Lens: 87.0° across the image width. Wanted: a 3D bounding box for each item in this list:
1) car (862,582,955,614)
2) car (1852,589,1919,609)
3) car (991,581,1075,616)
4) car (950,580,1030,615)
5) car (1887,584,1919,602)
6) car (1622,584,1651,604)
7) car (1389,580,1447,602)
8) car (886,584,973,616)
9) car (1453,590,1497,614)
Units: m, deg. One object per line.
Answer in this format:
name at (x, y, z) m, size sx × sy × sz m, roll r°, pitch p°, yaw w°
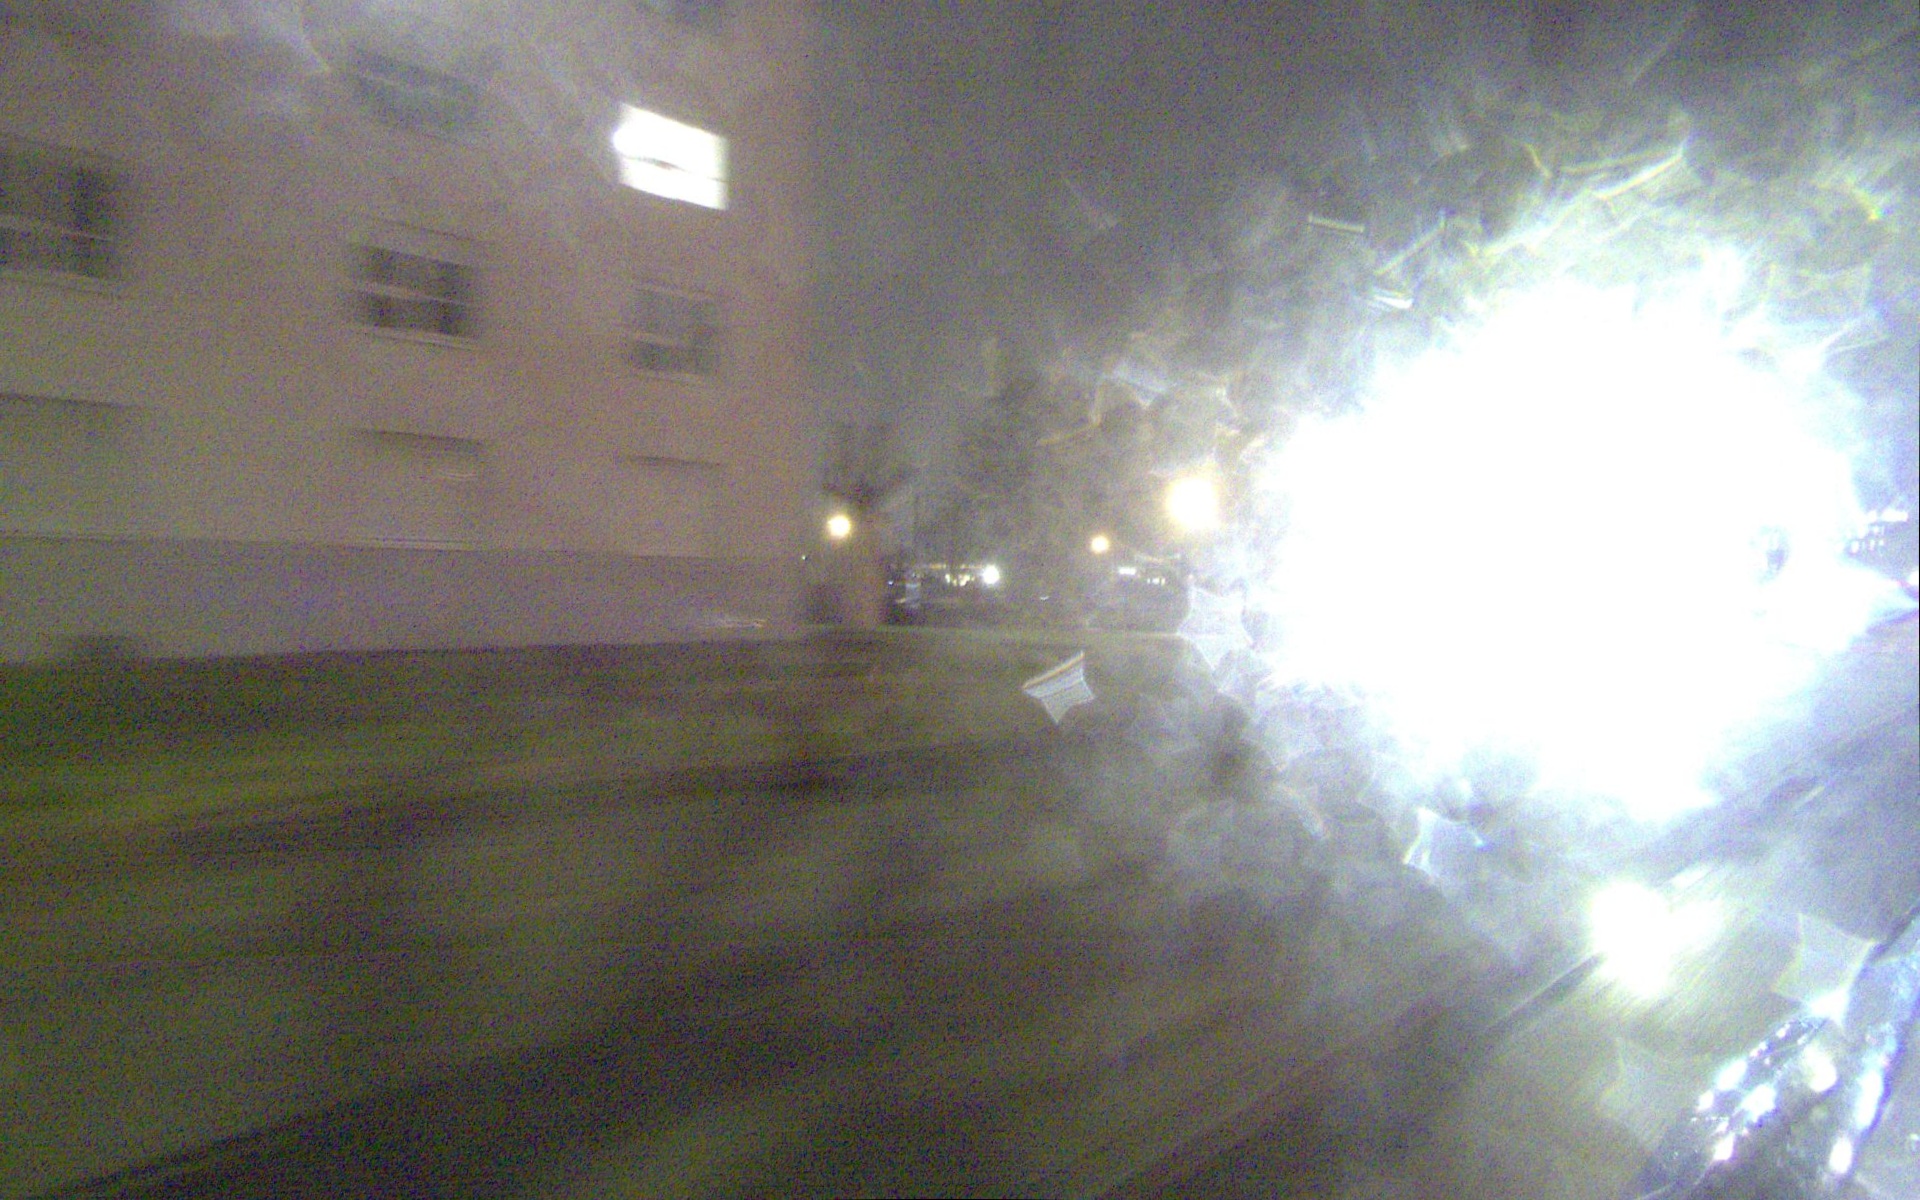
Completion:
car at (-2.724, -0.127, 54.250) m, size 4.725 × 1.656 × 1.999 m, roll 0°, pitch 1°, yaw -37°
car at (72.332, -0.084, 78.645) m, size 4.154 × 1.484 × 1.977 m, roll 1°, pitch 1°, yaw 32°
car at (3.313, -0.086, 45.739) m, size 3.953 × 1.465 × 1.484 m, roll 0°, pitch 1°, yaw -43°
car at (1.430, -0.120, 47.747) m, size 3.815 × 1.587 × 1.487 m, roll 0°, pitch 1°, yaw -42°
car at (84.650, -0.612, 88.955) m, size 1.959 × 1.484 × 4.191 m, roll 0°, pitch 1°, yaw -28°
car at (64.325, -0.615, 96.225) m, size 1.990 × 1.776 × 3.945 m, roll 2°, pitch 2°, yaw 38°
car at (30.887, -0.624, 68.193) m, size 3.923 × 1.470 × 1.770 m, roll -1°, pitch 1°, yaw -34°
car at (-1.553, -0.013, 51.956) m, size 4.108 × 1.539 × 2.000 m, roll 0°, pitch 2°, yaw -37°
car at (37.815, 0.096, 74.225) m, size 1.991 × 1.693 × 4.125 m, roll 1°, pitch 1°, yaw 40°
